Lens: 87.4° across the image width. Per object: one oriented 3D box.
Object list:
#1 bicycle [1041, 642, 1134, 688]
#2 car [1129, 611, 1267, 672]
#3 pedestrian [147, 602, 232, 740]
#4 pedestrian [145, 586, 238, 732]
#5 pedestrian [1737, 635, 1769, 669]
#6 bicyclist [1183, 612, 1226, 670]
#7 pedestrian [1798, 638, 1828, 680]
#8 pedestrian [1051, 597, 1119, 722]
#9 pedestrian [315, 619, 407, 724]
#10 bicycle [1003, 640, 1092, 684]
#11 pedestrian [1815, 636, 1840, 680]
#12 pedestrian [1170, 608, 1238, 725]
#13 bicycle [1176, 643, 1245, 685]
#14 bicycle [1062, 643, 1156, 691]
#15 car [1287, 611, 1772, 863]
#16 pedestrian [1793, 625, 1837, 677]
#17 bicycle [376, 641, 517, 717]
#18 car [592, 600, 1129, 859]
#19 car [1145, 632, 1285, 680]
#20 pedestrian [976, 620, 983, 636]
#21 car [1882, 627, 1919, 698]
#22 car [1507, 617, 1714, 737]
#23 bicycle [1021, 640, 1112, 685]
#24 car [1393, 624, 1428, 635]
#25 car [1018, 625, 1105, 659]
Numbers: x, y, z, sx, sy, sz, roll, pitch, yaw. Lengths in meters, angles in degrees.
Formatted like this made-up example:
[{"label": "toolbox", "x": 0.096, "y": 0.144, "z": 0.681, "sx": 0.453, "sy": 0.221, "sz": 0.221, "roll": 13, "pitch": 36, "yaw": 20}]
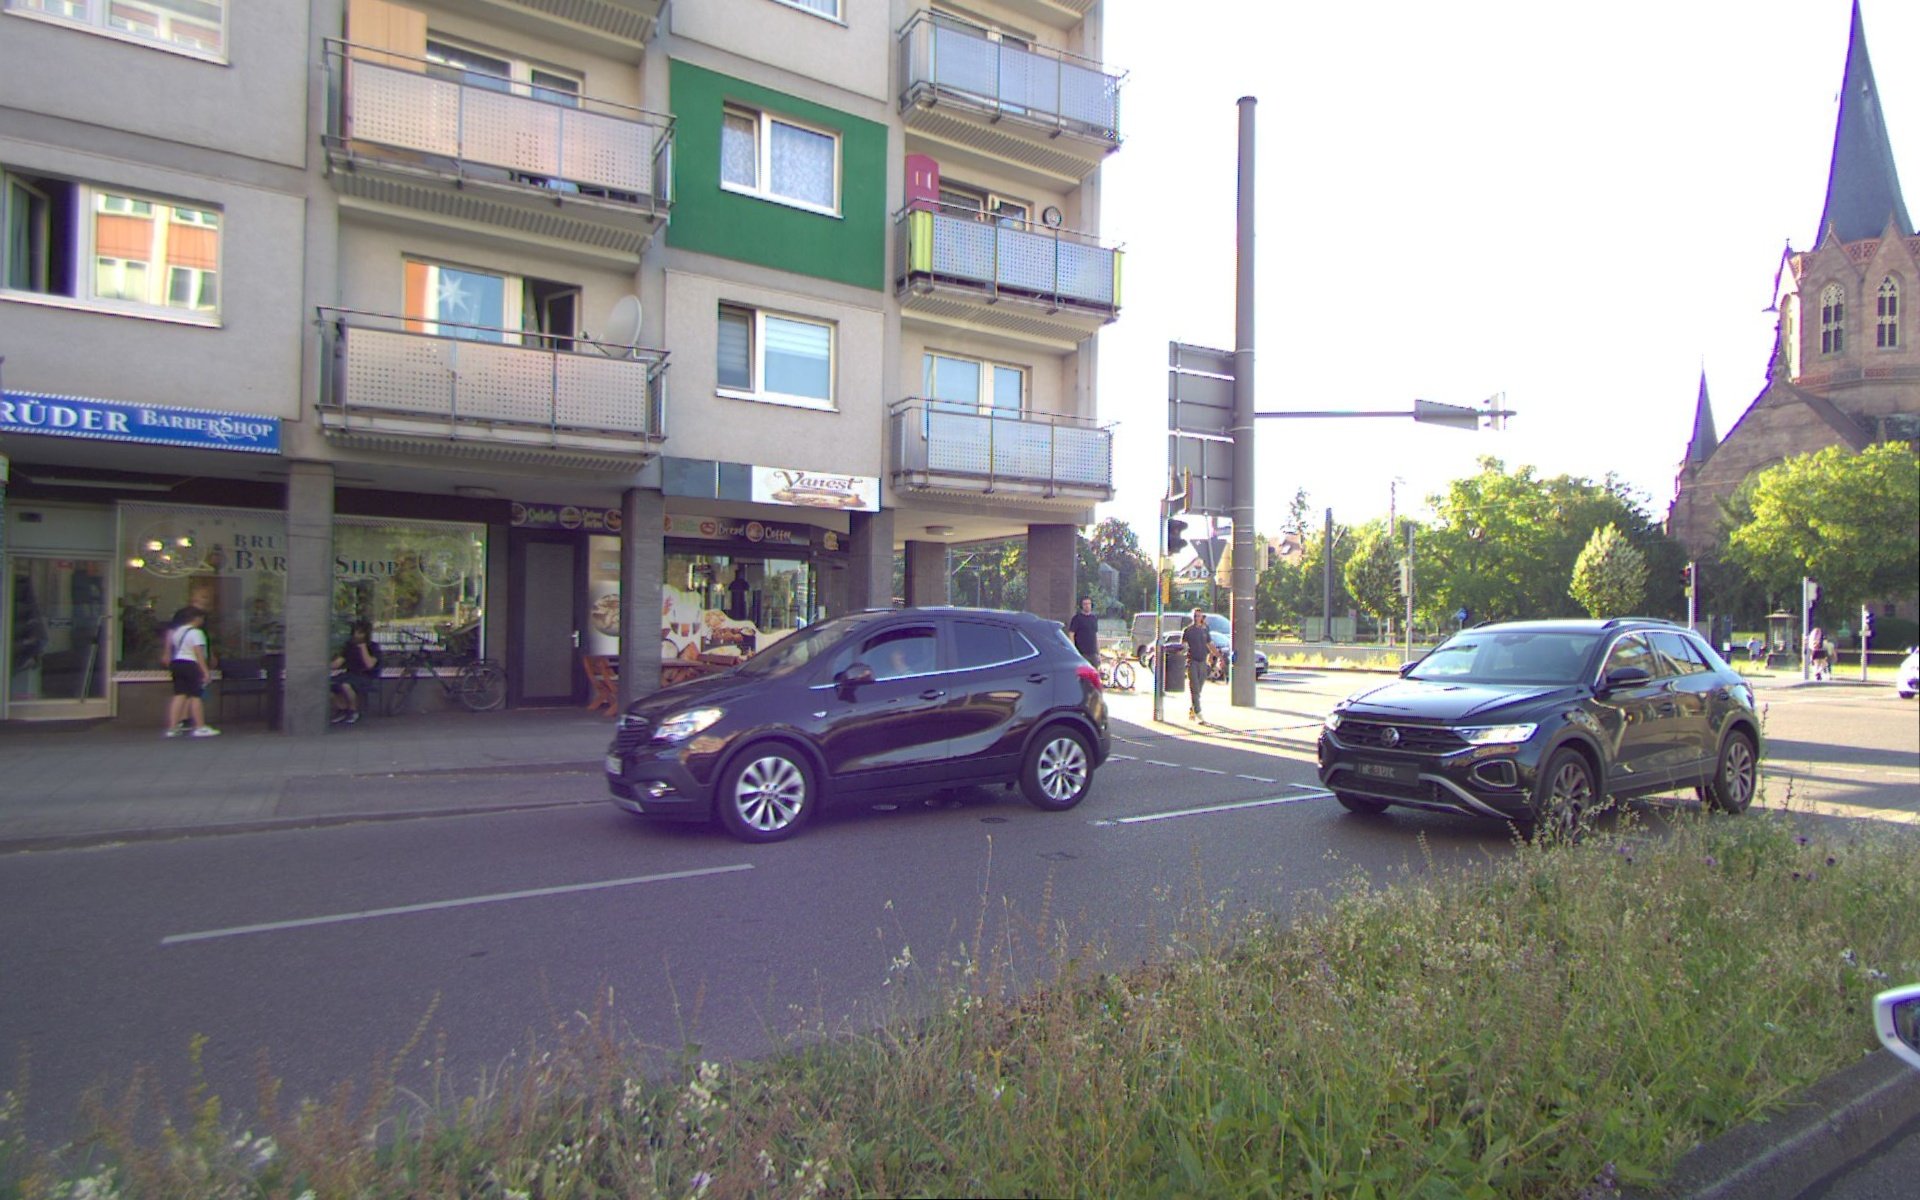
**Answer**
[{"label": "bicycle", "x": 3.110, "y": 1.575, "z": 24.422, "sx": 2.273, "sy": 1.065, "sz": 0.731, "roll": 2, "pitch": -2, "yaw": -31}, {"label": "car", "x": 8.484, "y": 1.437, "z": 36.223, "sx": 1.978, "sy": 2.040, "sz": 4.896, "roll": 2, "pitch": -2, "yaw": -32}, {"label": "pedestrian", "x": -8.643, "y": 0.777, "z": 11.288, "sx": 0.618, "sy": 1.486, "sz": 0.654, "roll": 1, "pitch": -1, "yaw": -28}, {"label": "pedestrian", "x": -9.225, "y": 0.693, "z": 12.070, "sx": 0.614, "sy": 1.694, "sz": 0.658, "roll": 0, "pitch": -1, "yaw": 28}, {"label": "pedestrian", "x": 41.805, "y": 2.748, "z": 52.974, "sx": 0.828, "sy": 1.719, "sz": 1.017, "roll": 2, "pitch": 0, "yaw": -1}, {"label": "bicyclist", "x": 6.967, "y": 1.167, "z": 28.653, "sx": 0.952, "sy": 1.619, "sz": 0.732, "roll": 1, "pitch": -2, "yaw": -30}, {"label": "pedestrian", "x": 36.603, "y": 2.530, "z": 43.108, "sx": 0.830, "sy": 1.719, "sz": 1.014, "roll": 2, "pitch": 0, "yaw": 34}, {"label": "pedestrian", "x": 1.978, "y": 0.920, "z": 15.903, "sx": 0.802, "sy": 1.900, "sz": 0.605, "roll": 1, "pitch": 2, "yaw": -30}, {"label": "pedestrian", "x": -7.875, "y": 0.919, "z": 13.228, "sx": 0.613, "sy": 1.331, "sz": 0.811, "roll": 0, "pitch": -1, "yaw": 16}, {"label": "bicycle", "x": 2.251, "y": 1.578, "z": 25.772, "sx": 2.273, "sy": 1.065, "sz": 0.731, "roll": 2, "pitch": -2, "yaw": -31}, {"label": "pedestrian", "x": 35.111, "y": 2.318, "z": 40.638, "sx": 0.700, "sy": 1.719, "sz": 0.890, "roll": 2, "pitch": 0, "yaw": 44}, {"label": "pedestrian", "x": 3.906, "y": 1.047, "z": 16.119, "sx": 0.802, "sy": 1.811, "sz": 0.606, "roll": 1, "pitch": 2, "yaw": -27}, {"label": "bicycle", "x": 7.081, "y": 1.784, "z": 28.446, "sx": 0.940, "sy": 1.112, "sz": 1.769, "roll": 1, "pitch": -2, "yaw": -30}, {"label": "bicycle", "x": 3.534, "y": 1.569, "z": 23.739, "sx": 2.273, "sy": 1.065, "sz": 0.731, "roll": 2, "pitch": -1, "yaw": -31}, {"label": "car", "x": 4.661, "y": 0.917, "z": 8.070, "sx": 4.057, "sy": 1.565, "sz": 1.666, "roll": 1, "pitch": -3, "yaw": -32}, {"label": "pedestrian", "x": 29.466, "y": 1.743, "z": 34.636, "sx": 0.803, "sy": 1.762, "sz": 0.960, "roll": 2, "pitch": -1, "yaw": -32}, {"label": "bicycle", "x": -7.281, "y": 1.097, "z": 14.282, "sx": 1.684, "sy": 1.012, "sz": 0.619, "roll": 2, "pitch": -2, "yaw": -40}, {"label": "car", "x": -0.727, "y": 0.893, "z": 8.236, "sx": 4.056, "sy": 1.650, "sz": 1.711, "roll": 1, "pitch": -2, "yaw": -31}, {"label": "car", "x": 7.806, "y": 1.682, "z": 31.076, "sx": 1.781, "sy": 1.330, "sz": 4.165, "roll": 2, "pitch": -2, "yaw": -32}, {"label": "pedestrian", "x": 2.320, "y": 3.353, "z": 118.595, "sx": 0.677, "sy": 1.847, "sz": 0.531, "roll": 2, "pitch": -1, "yaw": -27}, {"label": "car", "x": 22.828, "y": 1.406, "z": 22.917, "sx": 3.595, "sy": 1.565, "sz": 1.667, "roll": 1, "pitch": -2, "yaw": -31}, {"label": "car", "x": 9.641, "y": 1.088, "z": 14.884, "sx": 2.777, "sy": 1.614, "sz": 1.527, "roll": 1, "pitch": -2, "yaw": -32}, {"label": "bicycle", "x": 2.674, "y": 1.561, "z": 25.105, "sx": 2.273, "sy": 1.065, "sz": 0.731, "roll": 2, "pitch": -2, "yaw": -31}, {"label": "car", "x": 67.737, "y": 4.417, "z": 151.007, "sx": 1.985, "sy": 1.592, "sz": 4.411, "roll": 2, "pitch": -2, "yaw": -41}, {"label": "car", "x": 4.346, "y": 1.805, "z": 43.590, "sx": 1.781, "sy": 1.392, "sz": 3.880, "roll": 2, "pitch": -2, "yaw": -32}]
